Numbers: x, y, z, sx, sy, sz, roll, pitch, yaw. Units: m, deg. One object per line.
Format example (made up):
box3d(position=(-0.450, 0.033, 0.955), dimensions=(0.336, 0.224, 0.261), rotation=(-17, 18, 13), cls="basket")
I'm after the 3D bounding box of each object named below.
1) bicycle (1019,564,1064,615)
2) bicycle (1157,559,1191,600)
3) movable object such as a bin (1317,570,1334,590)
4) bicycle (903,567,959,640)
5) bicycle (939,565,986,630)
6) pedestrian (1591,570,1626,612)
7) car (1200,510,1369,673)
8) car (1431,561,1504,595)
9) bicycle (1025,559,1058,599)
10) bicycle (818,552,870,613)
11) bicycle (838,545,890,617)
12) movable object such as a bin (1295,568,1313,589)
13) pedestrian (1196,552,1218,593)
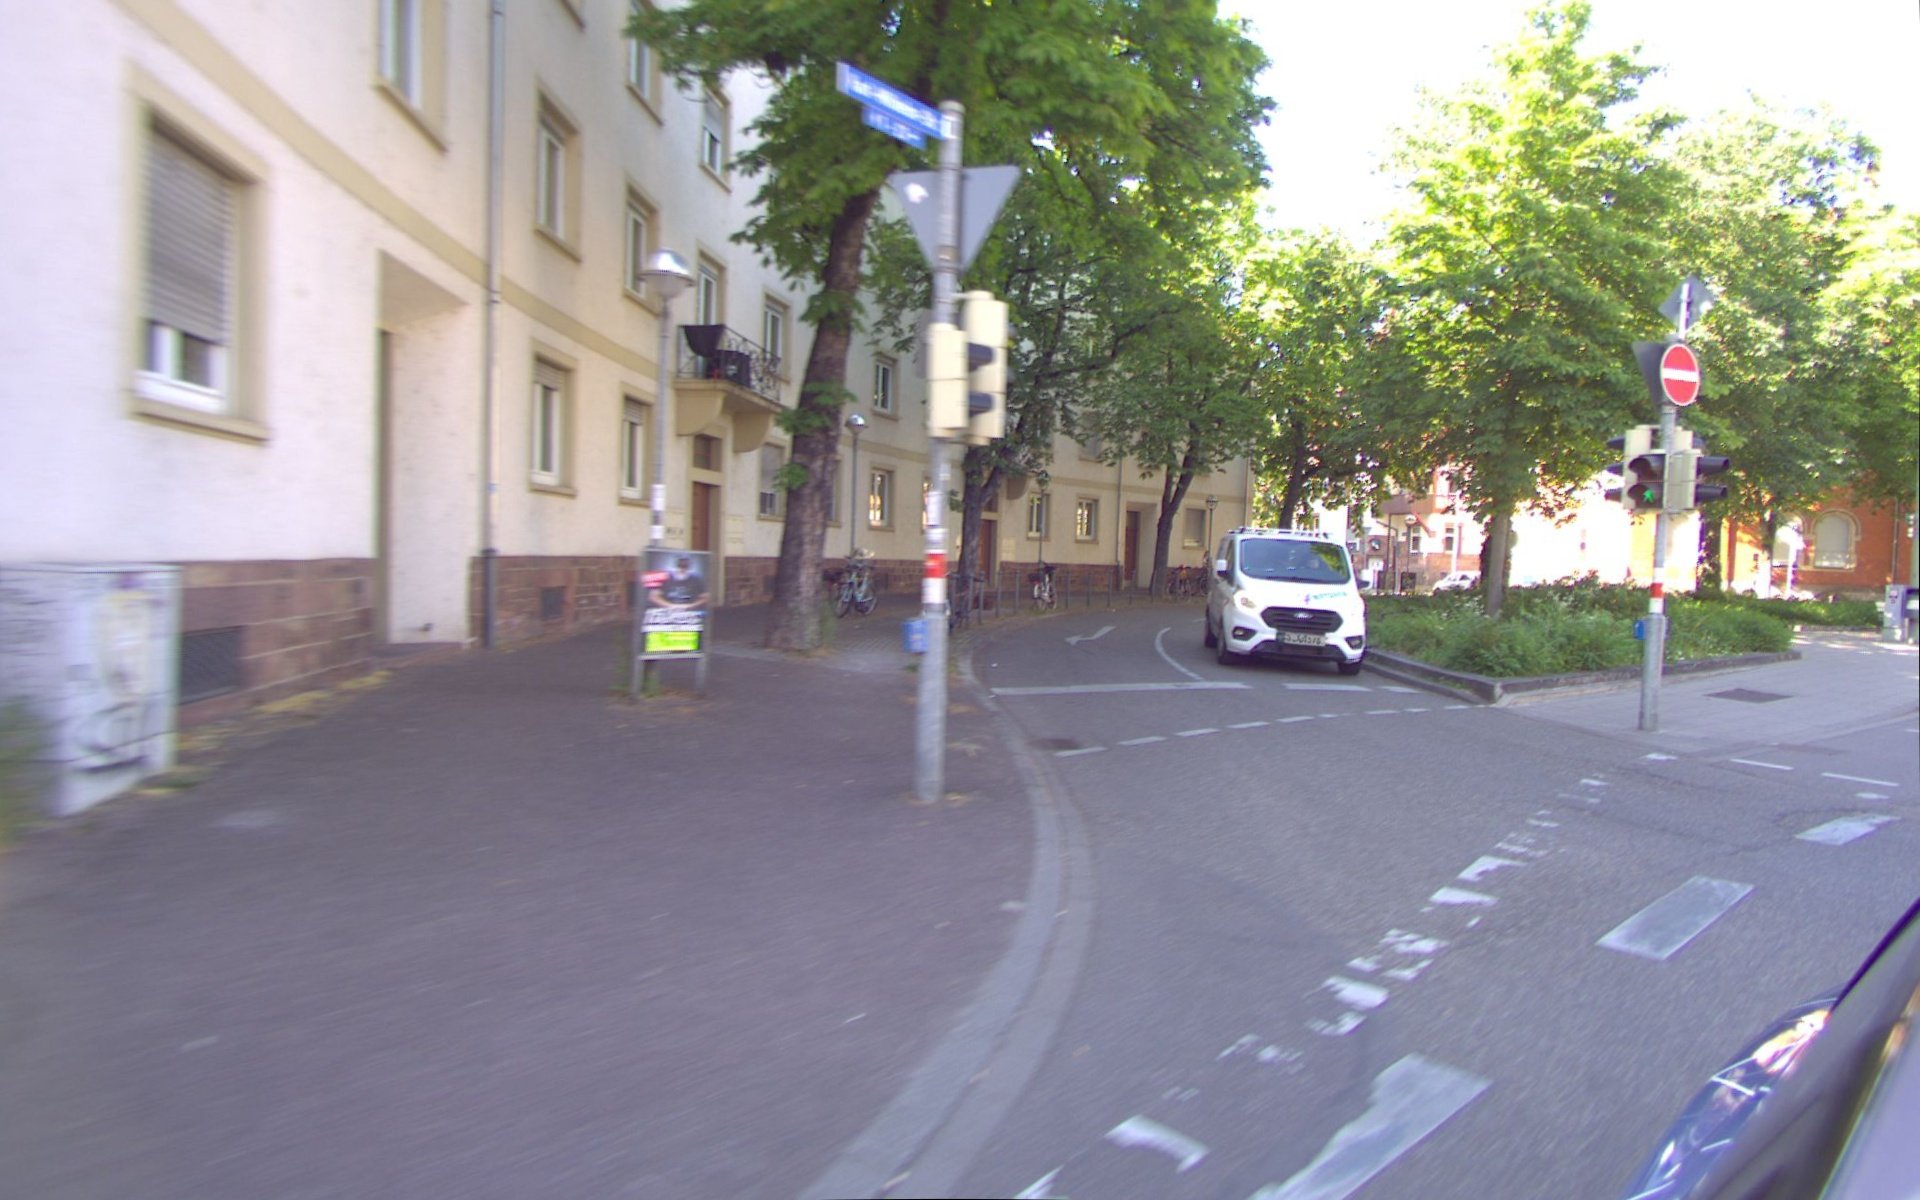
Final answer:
box3d(position=(2.062, -0.264, 25.256), dimensions=(0.471, 1.167, 1.978), rotation=(6, 3, 21), cls="bicycle")
box3d(position=(7.074, -0.672, 33.481), dimensions=(0.426, 1.295, 1.468), rotation=(5, 3, 37), cls="bicycle")
box3d(position=(17.347, -0.949, 48.015), dimensions=(0.532, 0.977, 0.644), rotation=(1, 1, -6), cls="movable object such as a bin")
box3d(position=(-0.451, 0.035, 16.366), dimensions=(0.422, 1.093, 1.482), rotation=(4, 2, 15), cls="bicycle")
box3d(position=(0.060, -0.073, 18.223), dimensions=(0.422, 1.093, 1.482), rotation=(4, 2, 15), cls="bicycle")
box3d(position=(19.376, -0.271, 30.233), dimensions=(1.020, 1.247, 0.451), rotation=(0, 1, -33), cls="pedestrian")
box3d(position=(4.830, -0.179, 15.711), dimensions=(1.659, 2.118, 4.747), rotation=(1, 1, 8), cls="car")
box3d(position=(27.192, -1.194, 54.332), dimensions=(1.602, 1.738, 3.809), rotation=(1, 1, -7), cls="car")
box3d(position=(2.454, -0.653, 30.294), dimensions=(0.456, 1.129, 1.554), rotation=(5, 4, 23), cls="bicycle")
box3d(position=(-2.246, -0.350, 19.788), dimensions=(0.422, 1.135, 1.514), rotation=(4, 2, 15), cls="bicycle")
box3d(position=(-1.827, -0.373, 19.447), dimensions=(0.422, 1.295, 1.482), rotation=(4, 2, 15), cls="bicycle")
box3d(position=(16.284, -1.036, 47.930), dimensions=(0.532, 0.977, 0.644), rotation=(1, 1, -6), cls="movable object such as a bin")
box3d(position=(10.033, -1.101, 41.125), dimensions=(0.617, 1.654, 0.572), rotation=(0, 1, -34), cls="pedestrian")
